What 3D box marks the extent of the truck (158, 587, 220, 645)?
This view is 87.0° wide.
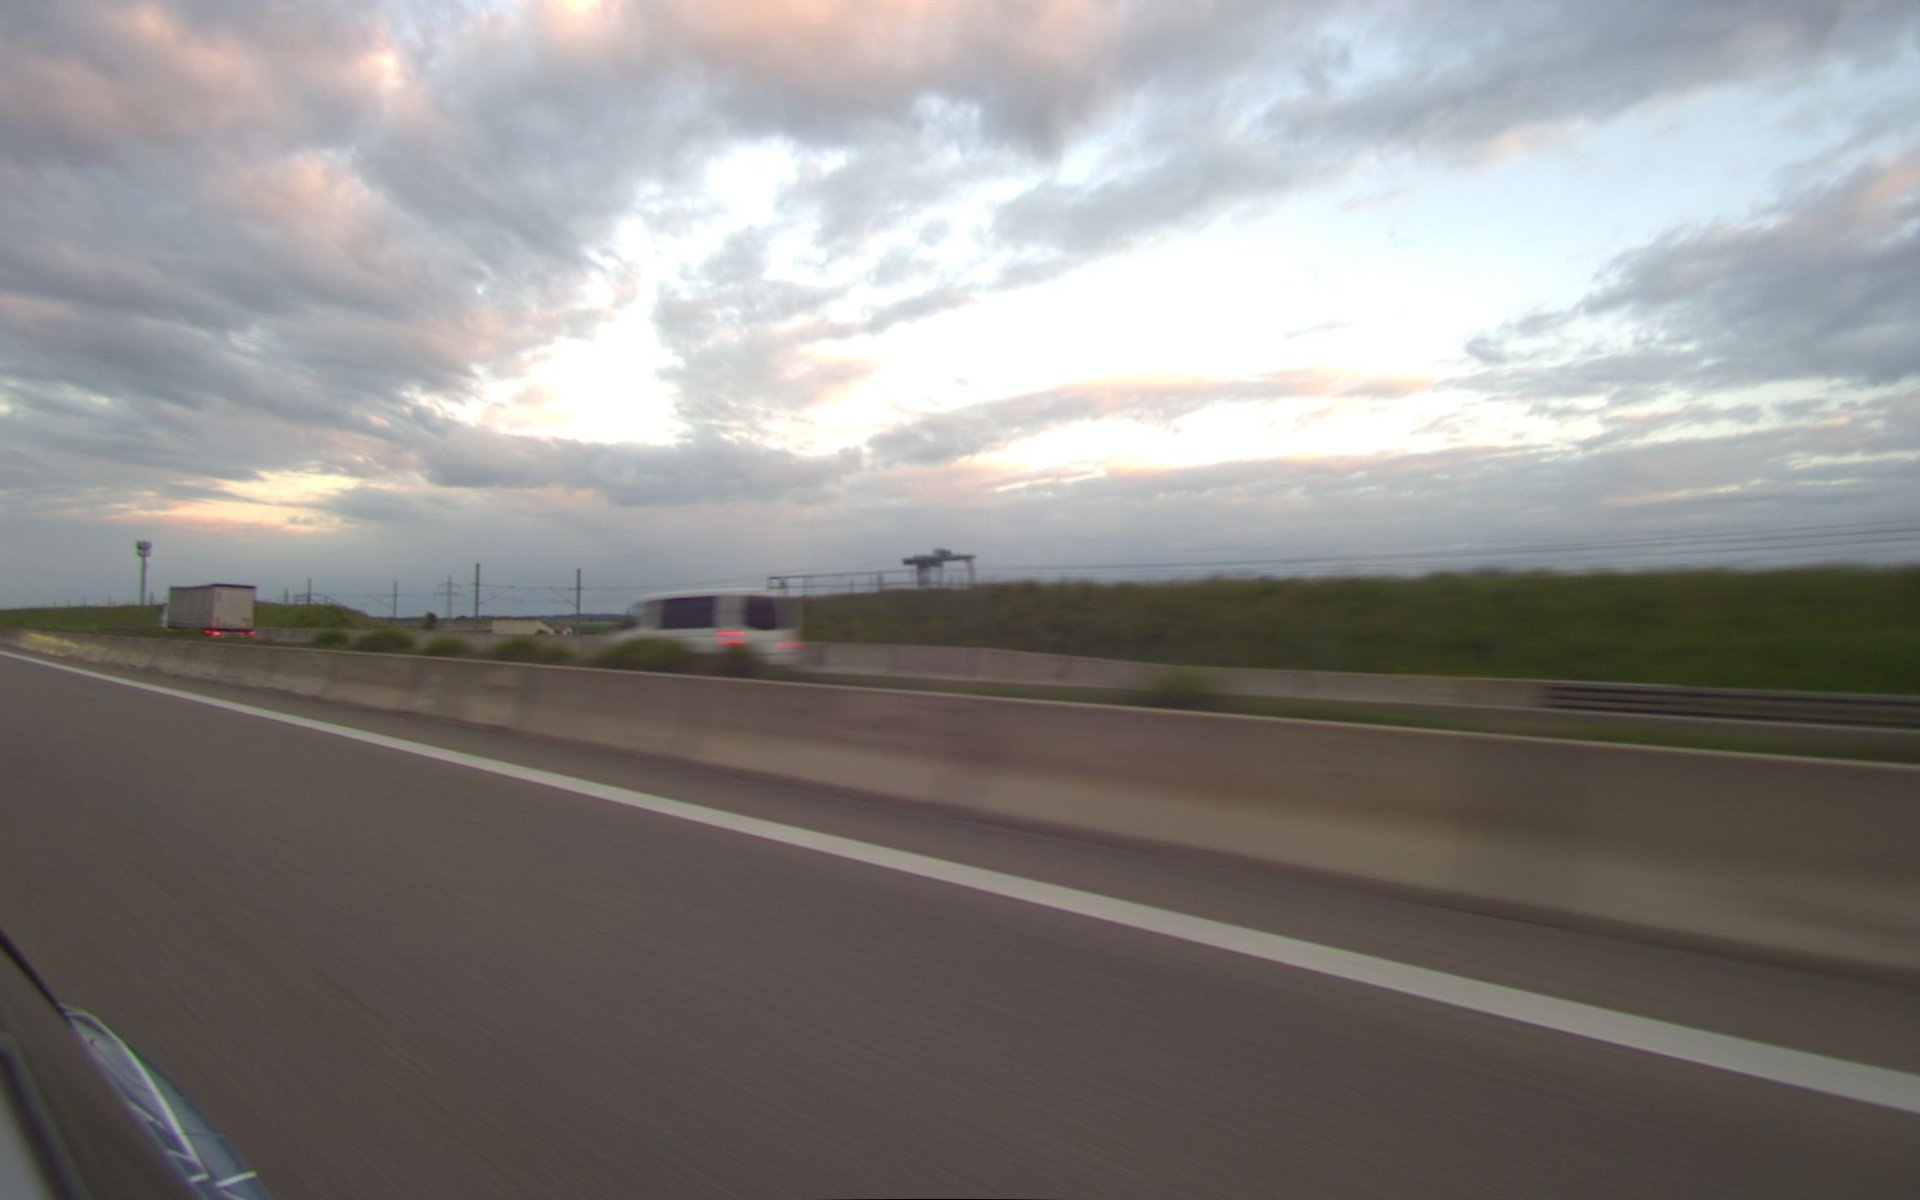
[{"bbox_3d":[-60.758,1.244,79.683,6.737,4.385,2.787,-2,-1,43],"label":"truck"}]

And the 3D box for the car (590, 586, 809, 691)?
[{"bbox_3d":[-6.737,0.952,25.619,6.491,2.362,2.105,-1,-3,42],"label":"car"}]

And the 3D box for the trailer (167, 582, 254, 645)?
[{"bbox_3d":[-55.964,1.052,75.341,12.835,4.385,2.787,-2,-1,42],"label":"trailer"}]
